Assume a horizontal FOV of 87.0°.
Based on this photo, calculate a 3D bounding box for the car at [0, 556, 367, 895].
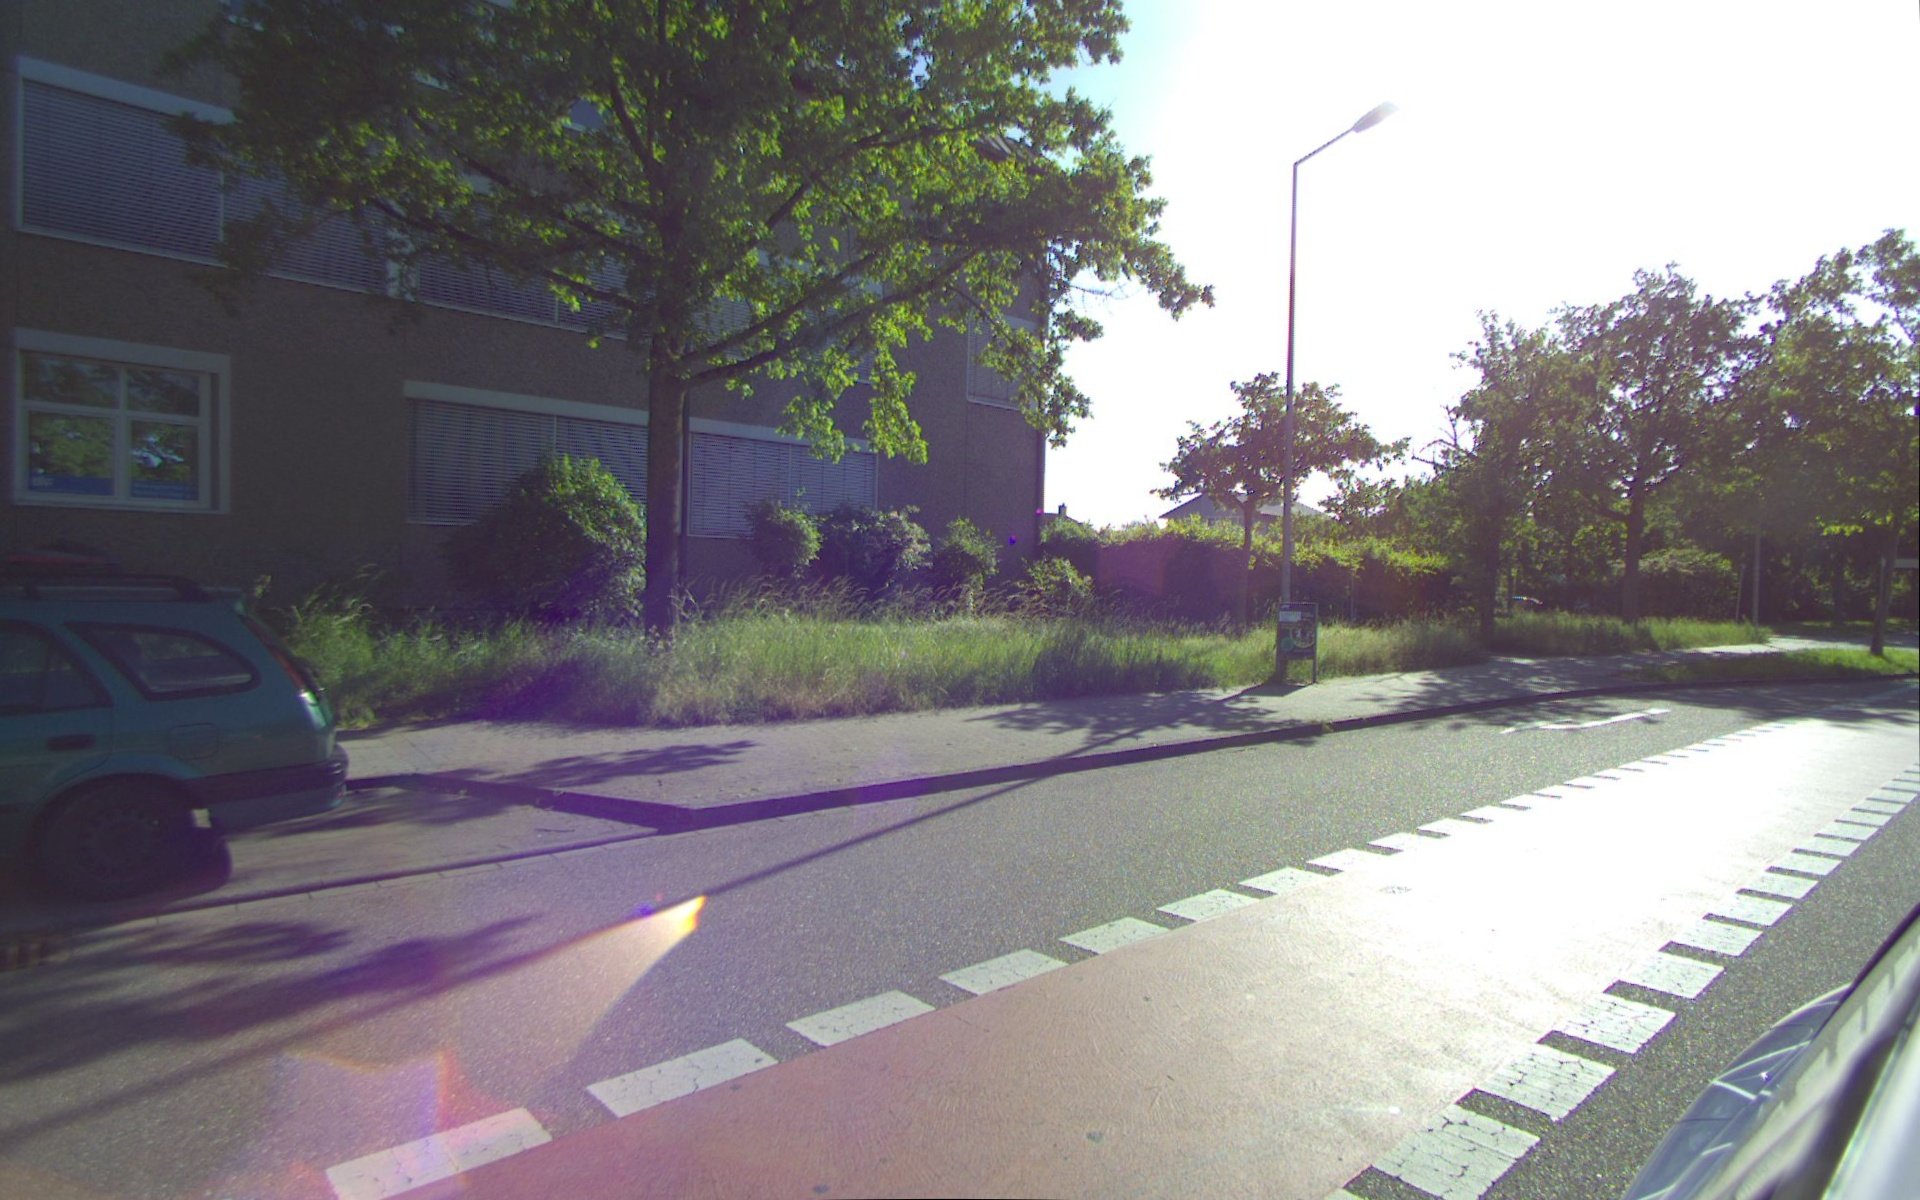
[{"bbox_3d":[-5.204,0.528,4.602,4.129,1.446,1.597,0,3,-40],"label":"car"}]
